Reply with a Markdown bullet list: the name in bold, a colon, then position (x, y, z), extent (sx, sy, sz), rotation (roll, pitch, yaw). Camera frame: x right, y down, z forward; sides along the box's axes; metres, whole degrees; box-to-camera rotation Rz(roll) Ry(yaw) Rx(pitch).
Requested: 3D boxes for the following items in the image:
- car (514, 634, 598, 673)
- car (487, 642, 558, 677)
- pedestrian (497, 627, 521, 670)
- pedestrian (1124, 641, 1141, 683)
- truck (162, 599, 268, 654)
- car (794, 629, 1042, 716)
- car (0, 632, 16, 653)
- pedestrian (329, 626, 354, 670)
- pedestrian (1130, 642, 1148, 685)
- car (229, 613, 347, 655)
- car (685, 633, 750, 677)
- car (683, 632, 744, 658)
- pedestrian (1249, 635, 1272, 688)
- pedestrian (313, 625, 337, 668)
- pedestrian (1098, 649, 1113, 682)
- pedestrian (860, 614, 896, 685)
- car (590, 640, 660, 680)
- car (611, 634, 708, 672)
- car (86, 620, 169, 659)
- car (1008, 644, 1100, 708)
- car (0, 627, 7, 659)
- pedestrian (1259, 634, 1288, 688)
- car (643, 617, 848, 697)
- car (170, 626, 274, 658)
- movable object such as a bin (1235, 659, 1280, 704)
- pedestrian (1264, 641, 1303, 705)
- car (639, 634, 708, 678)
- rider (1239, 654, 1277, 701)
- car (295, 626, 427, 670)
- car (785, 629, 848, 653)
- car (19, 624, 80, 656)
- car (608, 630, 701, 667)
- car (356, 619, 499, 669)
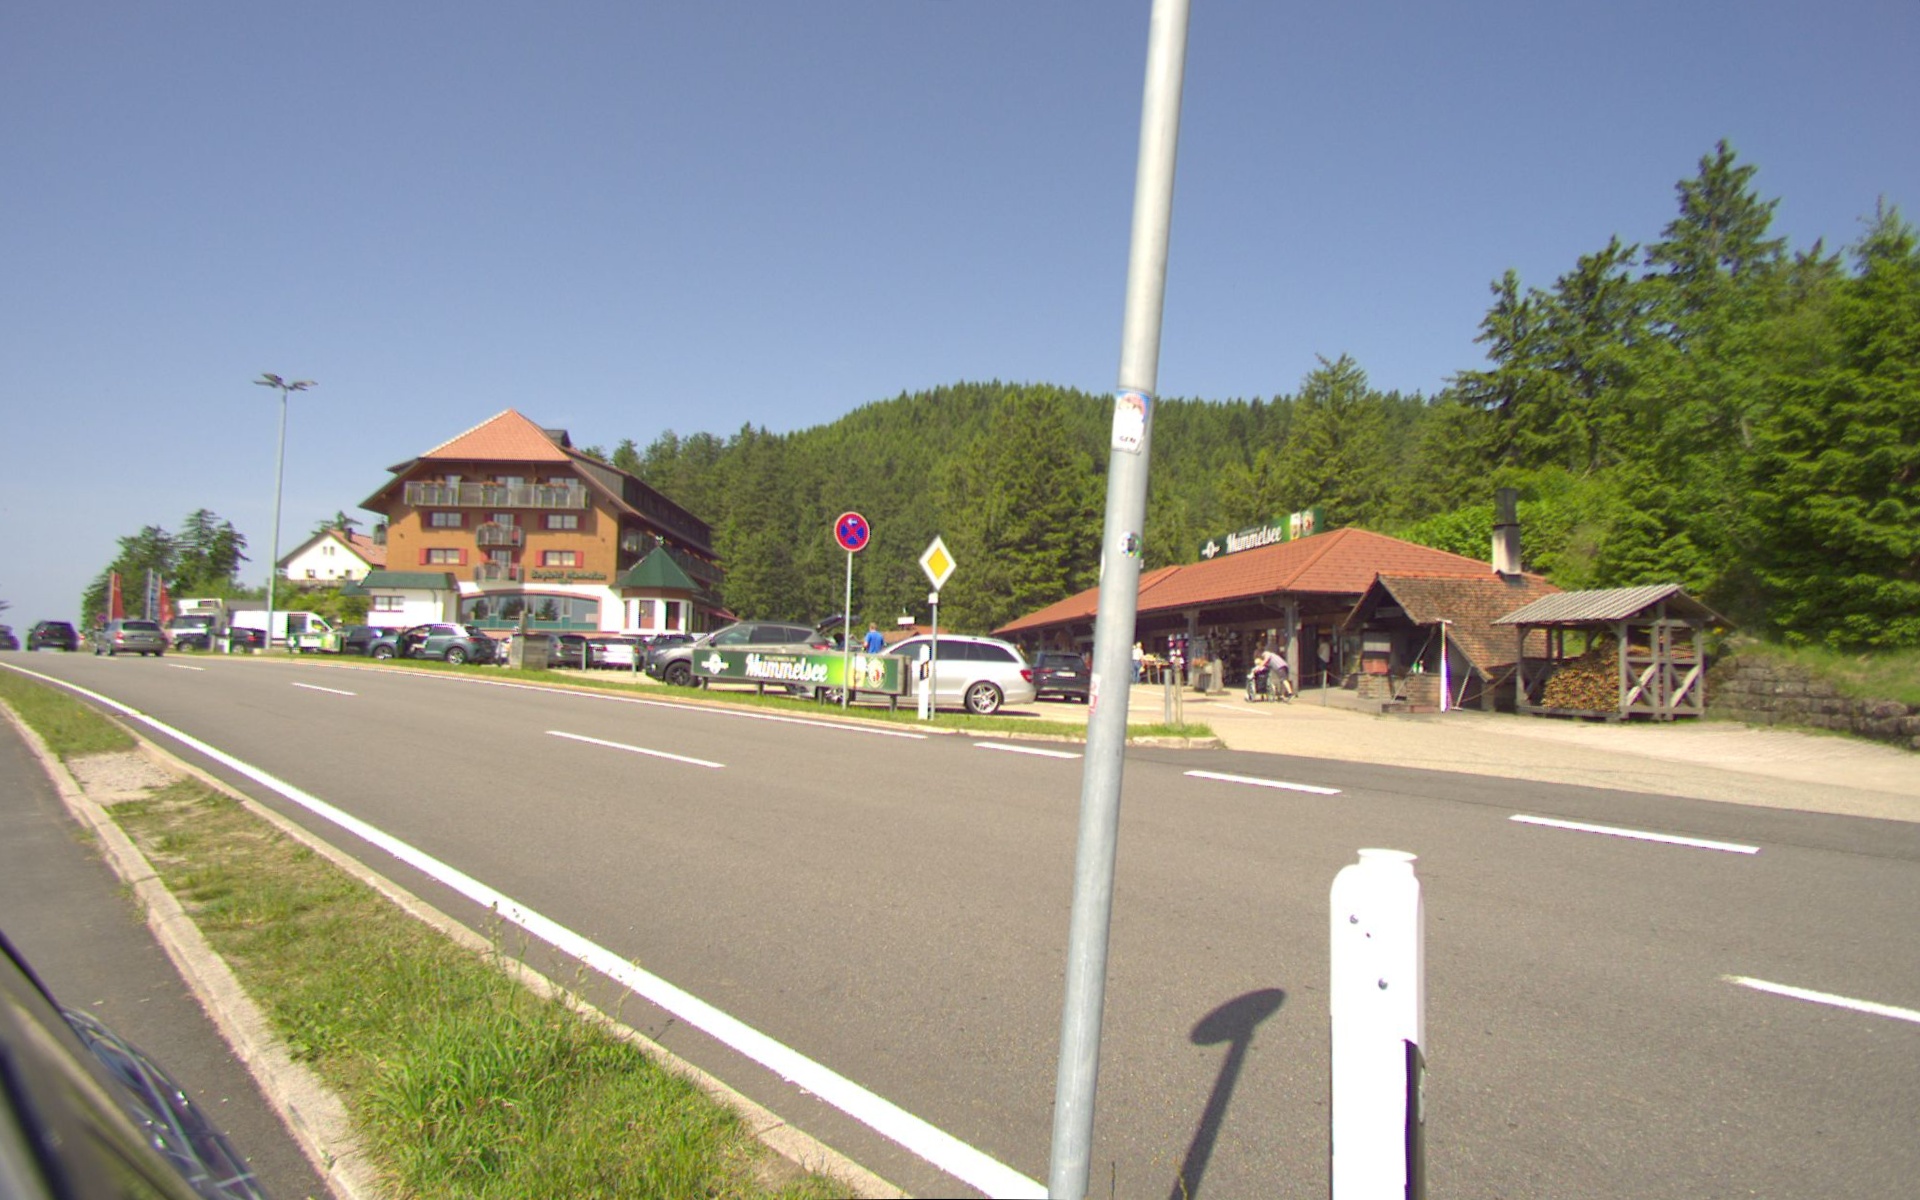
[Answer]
- **car**: position (-16.156, 2.118, 40.429), extent (1.696, 1.441, 4.003), rotation (4, -4, -44)
- **car**: position (-20.770, 2.800, 48.210), extent (1.797, 1.524, 4.097), rotation (2, -3, -3)
- **pedestrian**: position (-17.594, 1.880, 39.465), extent (0.733, 1.637, 0.685), rotation (2, -3, -19)
- **pedestrian**: position (6.860, 2.461, 40.322), extent (0.499, 1.668, 0.472), rotation (2, -2, -14)
- **truck**: position (-55.571, 2.053, 75.838), extent (2.837, 3.850, 9.037), rotation (0, -2, -11)
- **car**: position (-0.824, 1.359, 19.127), extent (4.432, 1.441, 1.724), rotation (2, -3, -6)
- **car**: position (-72.695, 3.188, 76.309), extent (4.447, 1.449, 1.688), rotation (-1, -3, 41)
- **pedestrian**: position (-28.848, 2.244, 47.209), extent (0.802, 2.029, 0.708), rotation (-1, -3, 40)
- **pedestrian**: position (7.046, 2.486, 39.863), extent (0.499, 1.668, 0.472), rotation (2, -2, -14)
- **car**: position (-48.385, 2.480, 73.105), extent (6.846, 2.812, 2.675), rotation (3, -3, -30)
- **car**: position (-9.599, 2.177, 40.367), extent (1.797, 1.641, 4.097), rotation (2, -3, -3)
- **car**: position (-17.973, 3.299, 74.062), extent (4.033, 1.729, 1.922), rotation (2, -3, -4)
- **pedestrian**: position (10.227, 2.082, 34.441), extent (0.555, 1.750, 0.663), rotation (-1, -3, 39)
- **pedestrian**: position (-30.755, 2.235, 48.991), extent (0.802, 2.029, 0.708), rotation (-1, -3, 40)
- **pedestrian**: position (6.583, 2.971, 45.851), extent (0.537, 1.442, 0.474), rotation (1, -2, -7)
- **pedestrian**: position (-1.950, 1.166, 24.019), extent (0.734, 1.648, 0.848), rotation (2, -3, -9)
- **car**: position (-14.153, 2.518, 42.964), extent (1.797, 1.524, 4.097), rotation (2, -3, -3)
- **car**: position (-14.015, 2.476, 47.379), extent (4.032, 1.641, 1.826), rotation (2, -3, -6)
- **car**: position (-33.649, 1.545, 40.874), extent (4.712, 1.485, 1.859), rotation (-1, -2, 42)
- **car**: position (2.601, 2.124, 29.038), extent (1.971, 1.541, 4.002), rotation (3, -2, -3)
- **car**: position (-87.501, 3.789, 91.141), extent (5.917, 2.772, 1.989), rotation (-1, -3, 43)
- **pedestrian**: position (10.377, 2.020, 33.485), extent (0.740, 1.750, 0.802), rotation (1, -2, 5)
- **car**: position (-4.938, 1.328, 23.769), extent (4.481, 1.668, 1.724), rotation (2, -3, -7)
- **car**: position (-39.408, 2.264, 54.122), extent (4.029, 1.539, 1.828), rotation (2, -3, -9)
- **movable object such as a bin**: position (8.484, 2.320, 28.915), extent (0.971, 1.198, 1.215), rotation (1, -2, 4)
- **pedestrian**: position (8.903, 1.989, 27.849), extent (0.829, 1.712, 0.802), rotation (1, -2, 5)
- **car**: position (-11.617, 2.271, 41.284), extent (1.797, 1.641, 4.097), rotation (2, -3, -3)
- **rider**: position (8.473, 2.194, 28.794), extent (0.829, 1.284, 0.908), rotation (1, -2, 5)
- **car**: position (-24.444, 1.952, 41.414), extent (4.205, 1.641, 1.826), rotation (2, -3, -6)
- **car**: position (-11.271, 3.246, 79.770), extent (4.773, 1.729, 1.922), rotation (2, -3, -4)
- **car**: position (-49.946, 2.162, 55.491), extent (4.565, 1.660, 1.972), rotation (-1, -3, 42)
- **car**: position (-14.954, 2.380, 49.682), extent (4.032, 1.641, 1.826), rotation (2, -3, -6)
- **car**: position (-19.322, 1.608, 36.874), extent (4.205, 1.641, 1.826), rotation (2, -3, -6)
